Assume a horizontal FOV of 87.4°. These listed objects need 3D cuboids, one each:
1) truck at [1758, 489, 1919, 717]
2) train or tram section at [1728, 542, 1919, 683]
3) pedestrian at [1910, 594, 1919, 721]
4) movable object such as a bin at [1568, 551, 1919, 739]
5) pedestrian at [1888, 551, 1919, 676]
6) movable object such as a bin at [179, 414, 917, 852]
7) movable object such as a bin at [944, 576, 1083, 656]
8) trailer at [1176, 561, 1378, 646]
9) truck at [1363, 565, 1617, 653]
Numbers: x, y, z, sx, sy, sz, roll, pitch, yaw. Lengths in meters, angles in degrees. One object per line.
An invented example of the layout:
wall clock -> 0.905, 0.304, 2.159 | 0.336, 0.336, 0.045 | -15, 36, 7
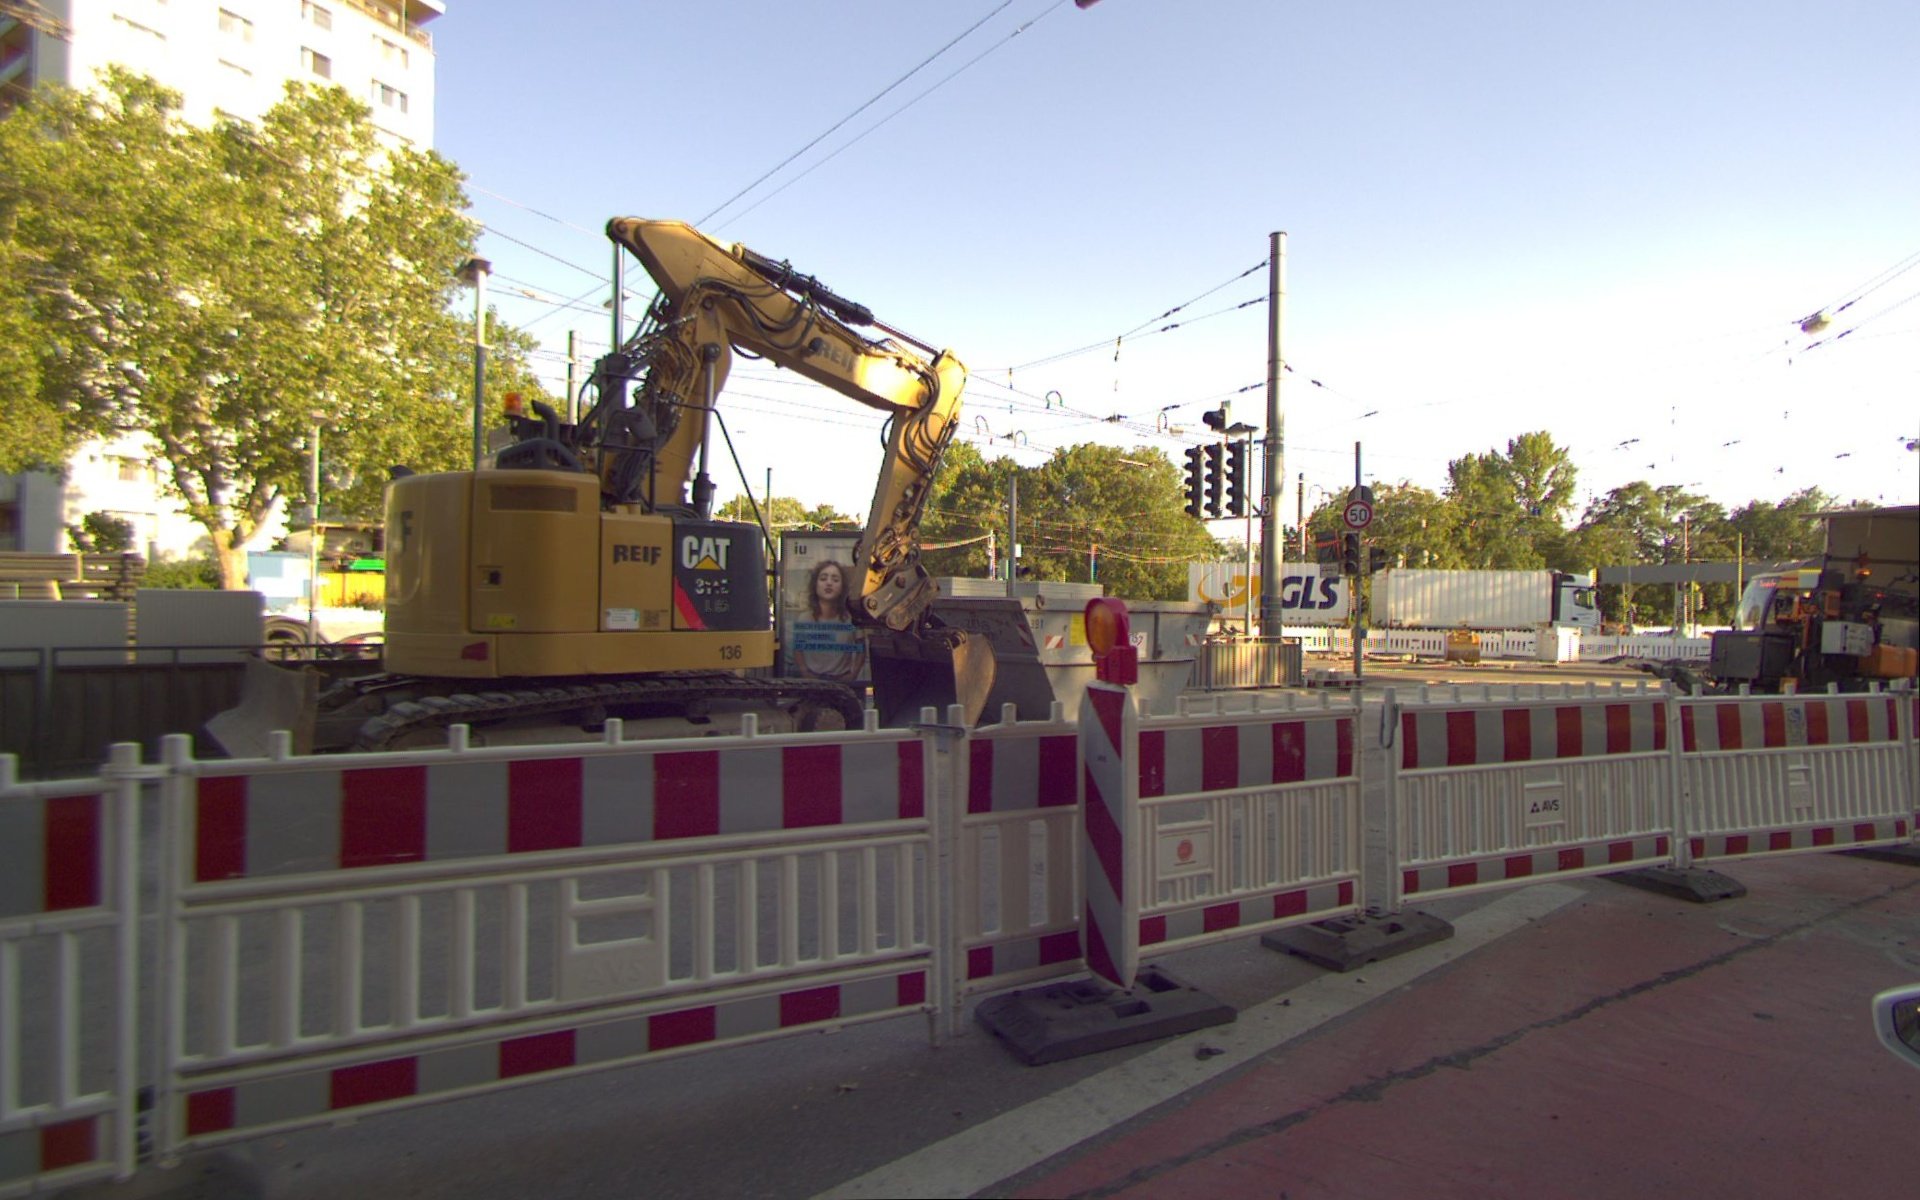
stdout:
truck -> 19.250, 0.114, 17.812 | 8.821, 3.588, 2.816 | 1, 0, -10
train or tram section -> 28.163, 0.417, 25.758 | 13.132, 3.580, 2.859 | 1, -1, 20
pedestrian -> 14.369, 0.837, 14.204 | 1.053, 1.822, 0.971 | 1, 0, -20
movable object such as a bin -> 11.279, 0.573, 13.631 | 5.114, 2.287, 1.996 | 1, 1, -10
pedestrian -> 16.184, 0.220, 16.539 | 0.984, 2.040, 0.937 | 0, 0, -12
movable object such as a bin -> -3.041, 0.198, 8.029 | 4.867, 2.349, 2.618 | 1, 0, -43
movable object such as a bin -> 1.922, 0.570, 35.487 | 4.554, 2.674, 2.136 | 1, -1, -36
trailer -> 15.370, 0.087, 49.069 | 9.064, 3.849, 2.895 | 1, 1, 20
truck -> 24.784, 0.406, 47.426 | 10.223, 3.840, 2.902 | 1, -1, 5
